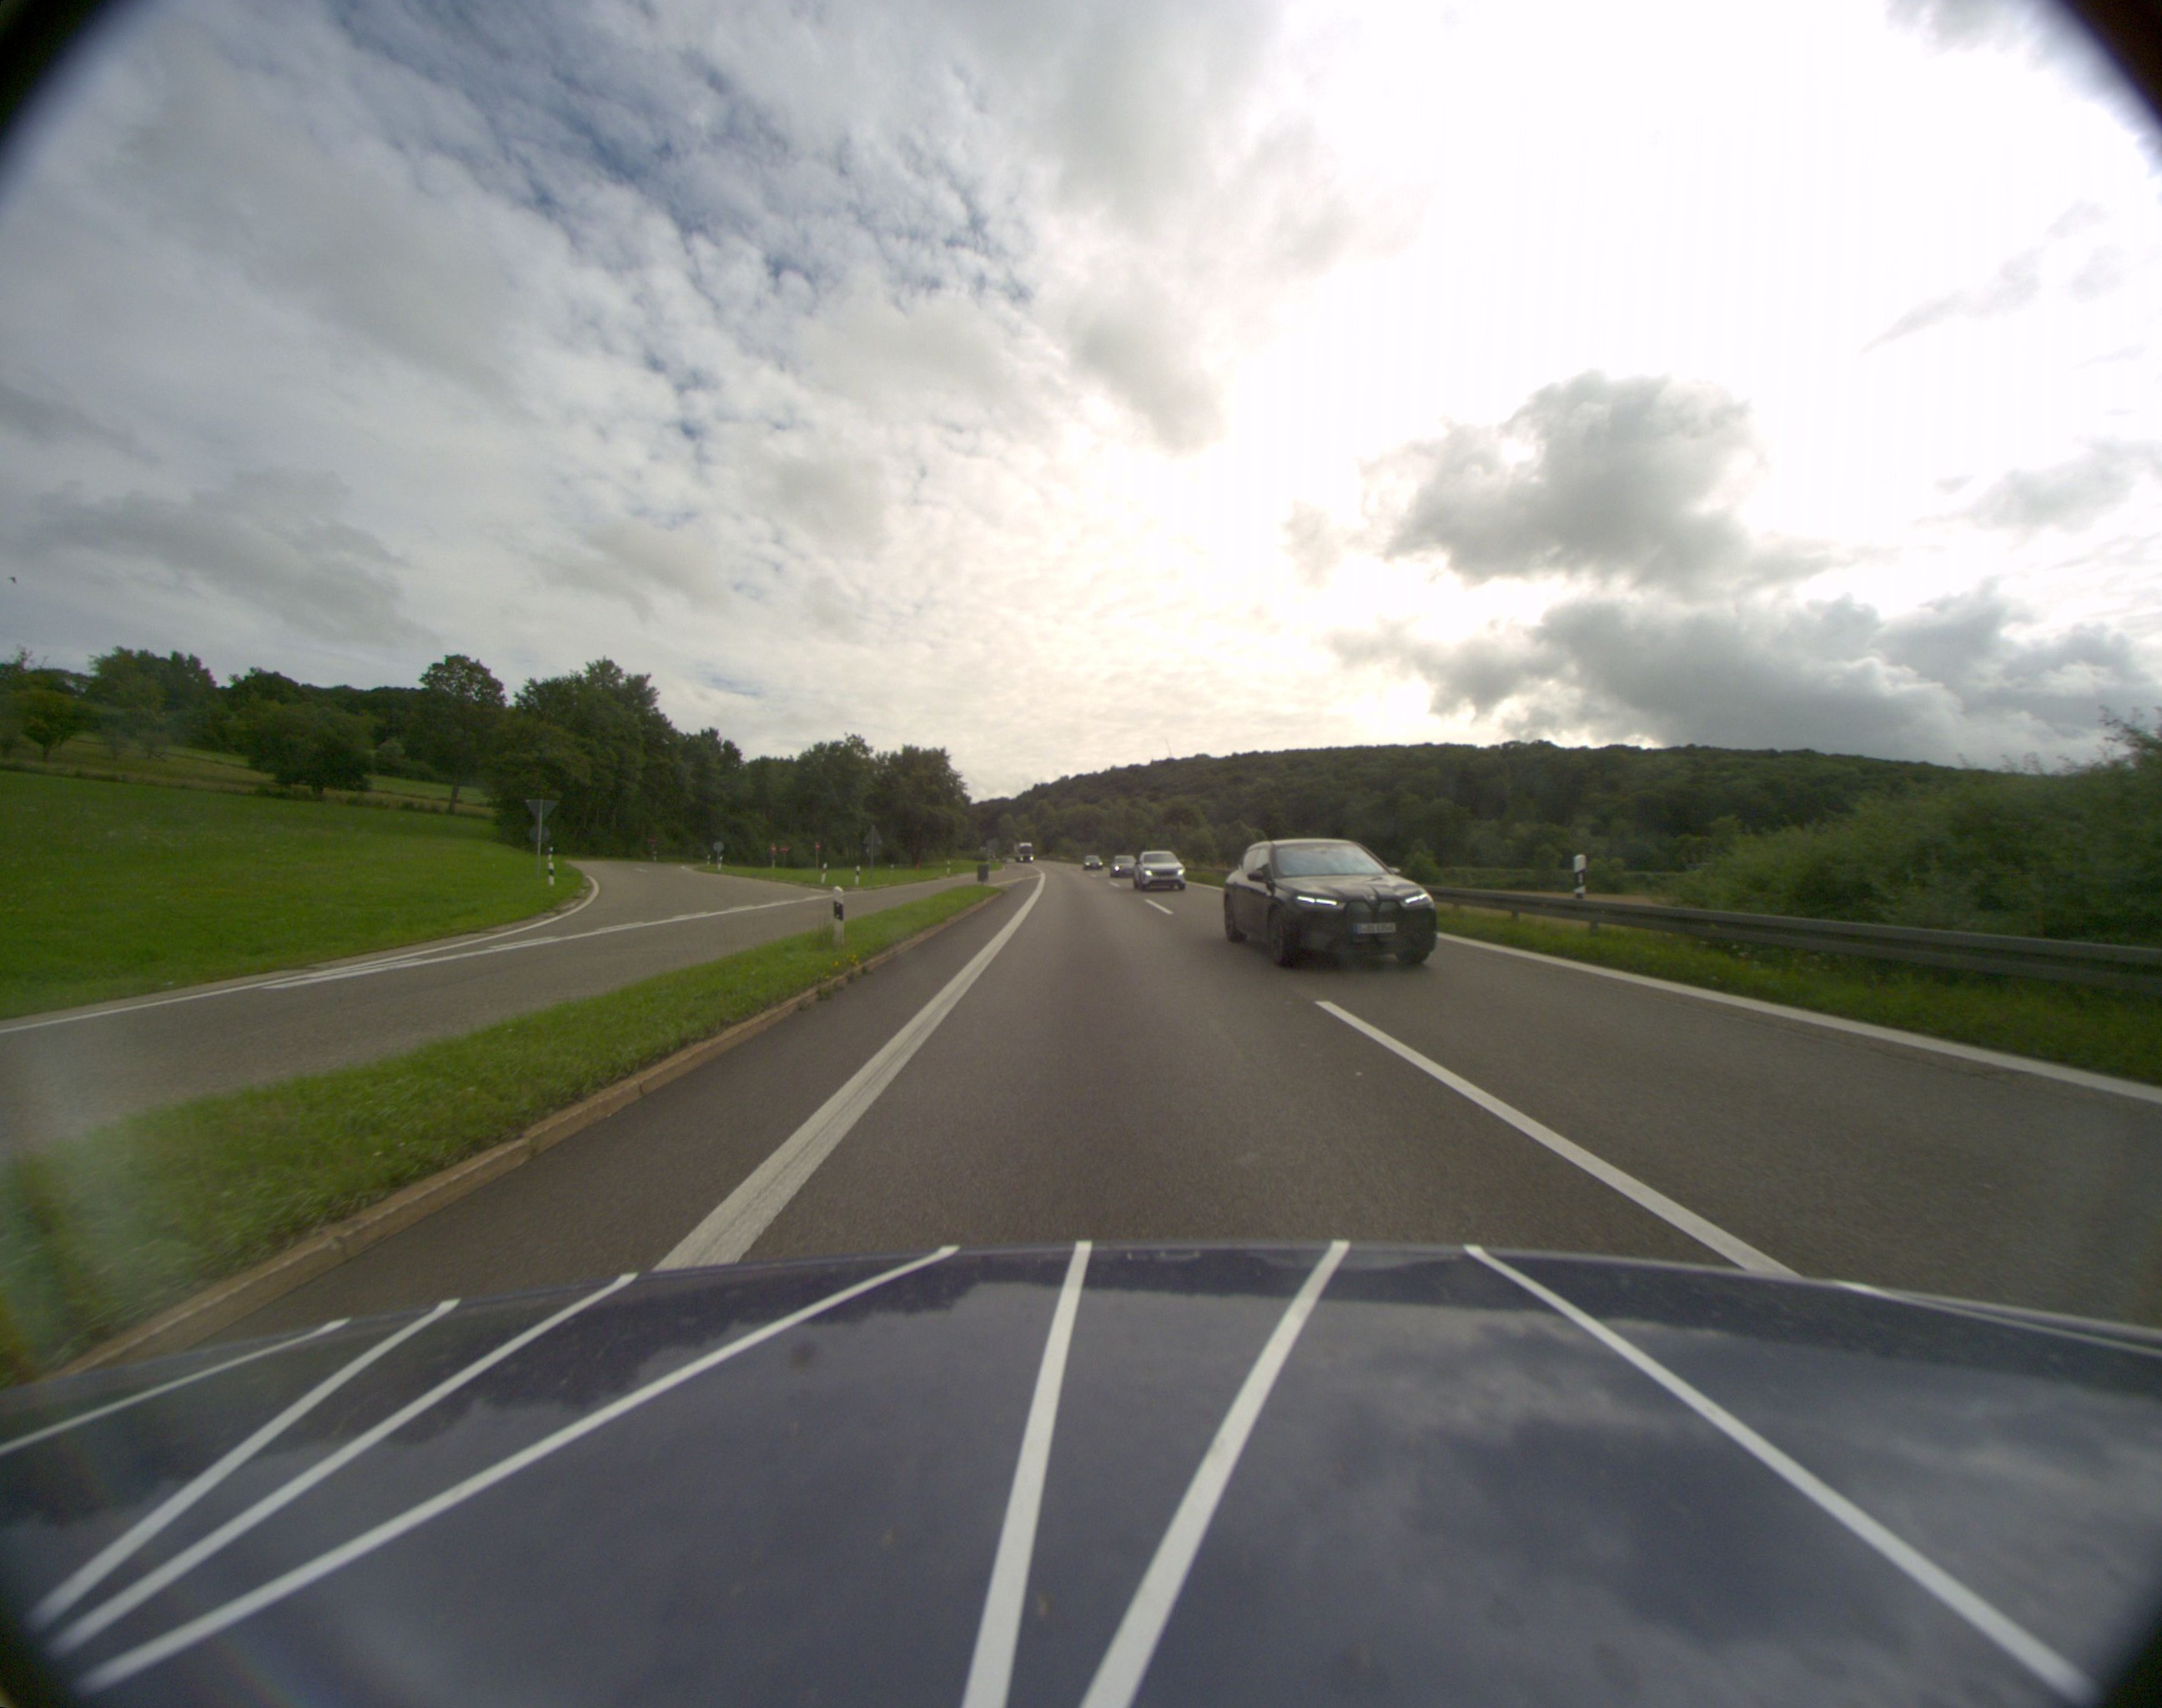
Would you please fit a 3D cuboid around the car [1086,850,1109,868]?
[{"bbox_3d":[1.651,0.478,76.342,1.999,1.656,4.412,0,2,-3],"label":"car"}]

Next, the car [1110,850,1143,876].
[{"bbox_3d":[3.124,0.575,52.861,1.999,1.656,4.413,0,1,-1],"label":"car"}]

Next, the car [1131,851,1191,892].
[{"bbox_3d":[3.400,0.691,33.012,1.999,1.656,4.414,0,0,-2],"label":"car"}]

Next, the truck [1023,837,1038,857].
[{"bbox_3d":[-10.273,-1.404,154.593,2.796,3.949,5.937,0,1,-3],"label":"truck"}]

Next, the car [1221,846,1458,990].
[{"bbox_3d":[3.461,0.745,11.172,1.998,1.656,4.415,-1,0,1],"label":"car"}]

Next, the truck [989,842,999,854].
[{"bbox_3d":[-27.734,-1.914,241.710,2.798,3.949,5.933,0,1,-10],"label":"truck"}]
